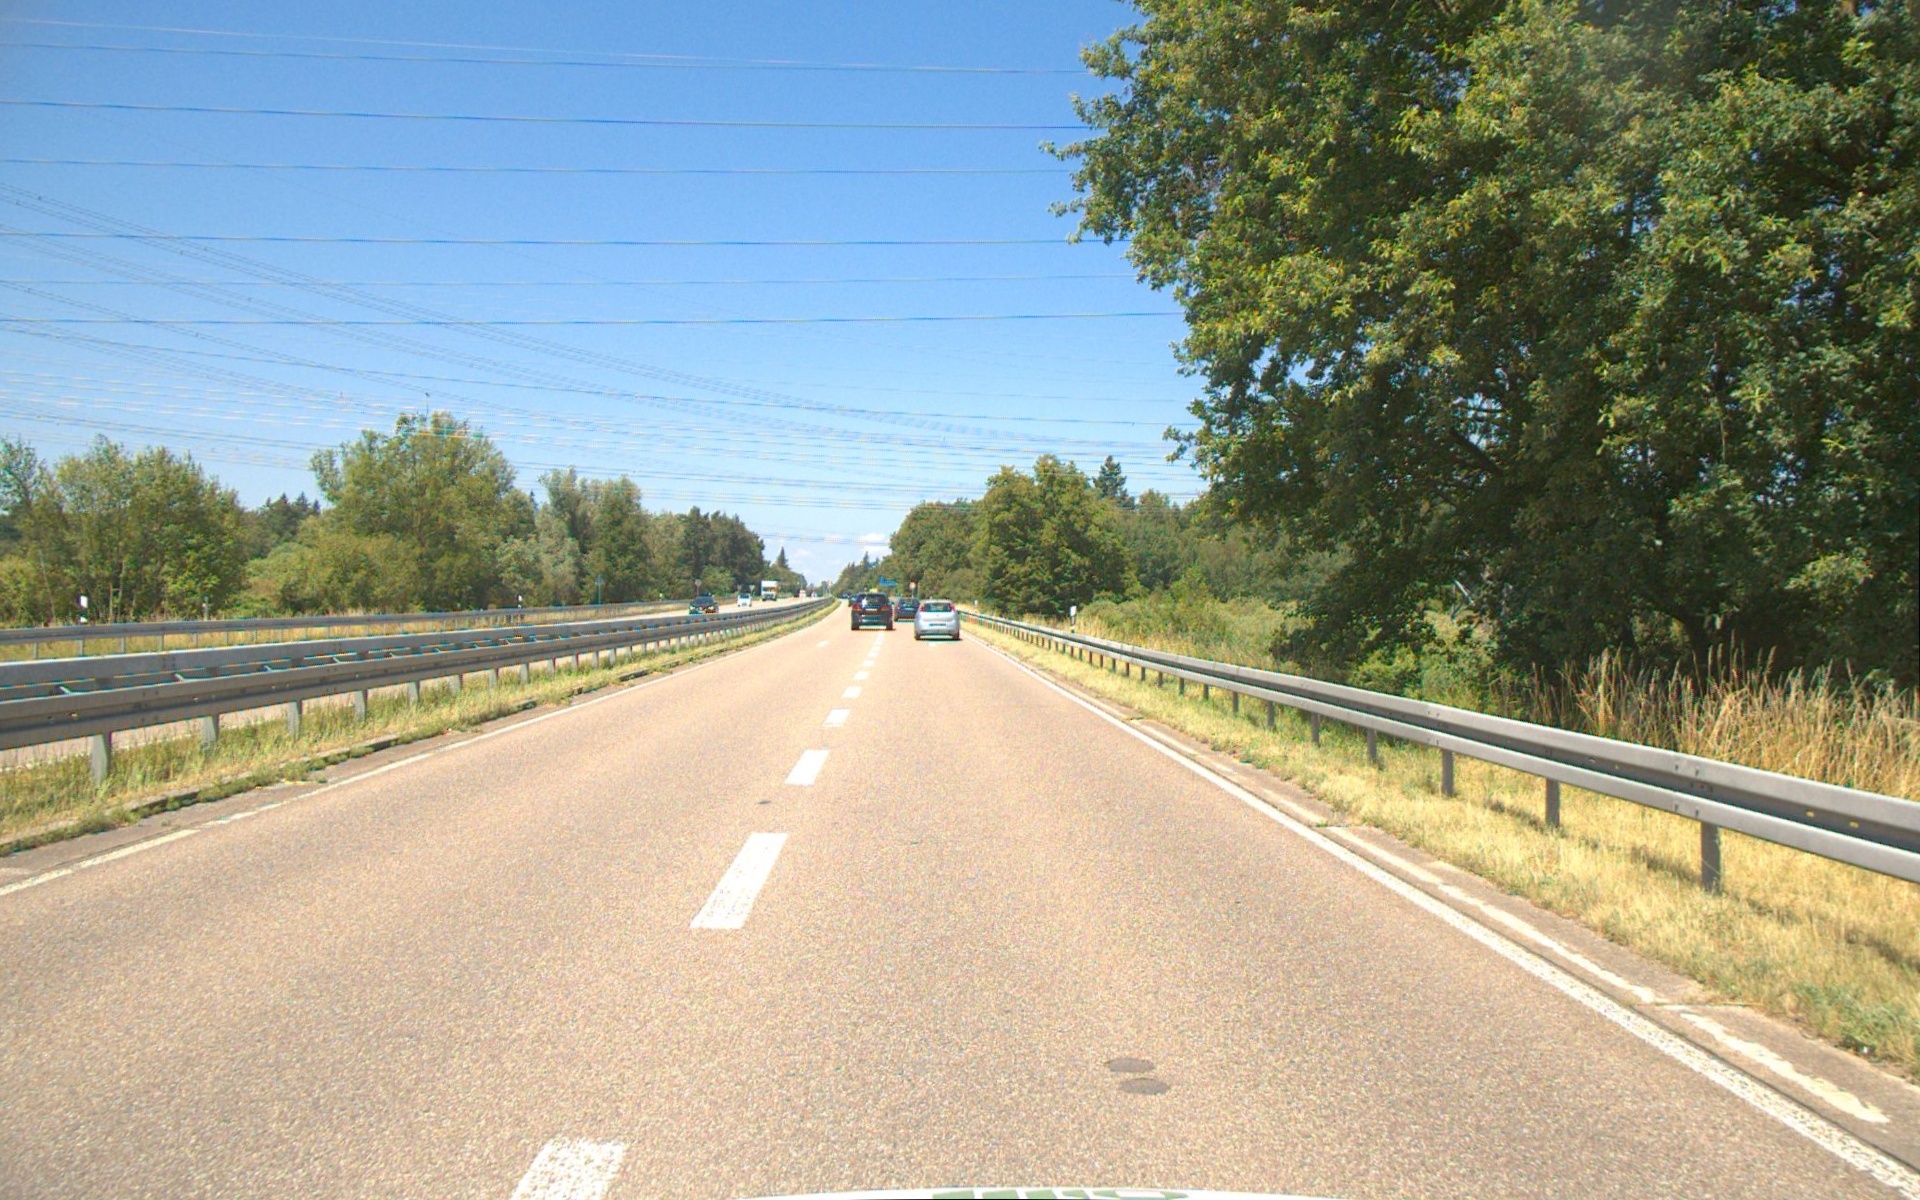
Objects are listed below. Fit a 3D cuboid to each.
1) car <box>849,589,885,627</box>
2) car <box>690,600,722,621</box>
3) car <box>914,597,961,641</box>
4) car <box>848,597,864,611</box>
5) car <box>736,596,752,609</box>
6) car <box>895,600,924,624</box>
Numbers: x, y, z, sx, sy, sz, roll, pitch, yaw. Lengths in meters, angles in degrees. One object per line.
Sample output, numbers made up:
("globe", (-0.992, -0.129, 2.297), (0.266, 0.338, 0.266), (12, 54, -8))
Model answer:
("car", (-4.340, 0.372, 77.644), (1.607, 1.682, 3.572), (3, 0, -3))
("car", (-17.724, 0.718, 115.612), (1.808, 1.437, 4.677), (0, 0, -4))
("car", (-0.863, 0.697, 61.507), (1.607, 1.493, 3.417), (3, 0, -2))
("car", (-12.201, 0.447, 193.642), (1.679, 1.497, 3.570), (3, 0, -5))
("car", (-25.273, 0.289, 193.666), (1.502, 1.475, 3.699), (0, 0, -3))
("car", (-3.086, 0.700, 101.302), (1.607, 1.366, 3.574), (3, 0, 0))
